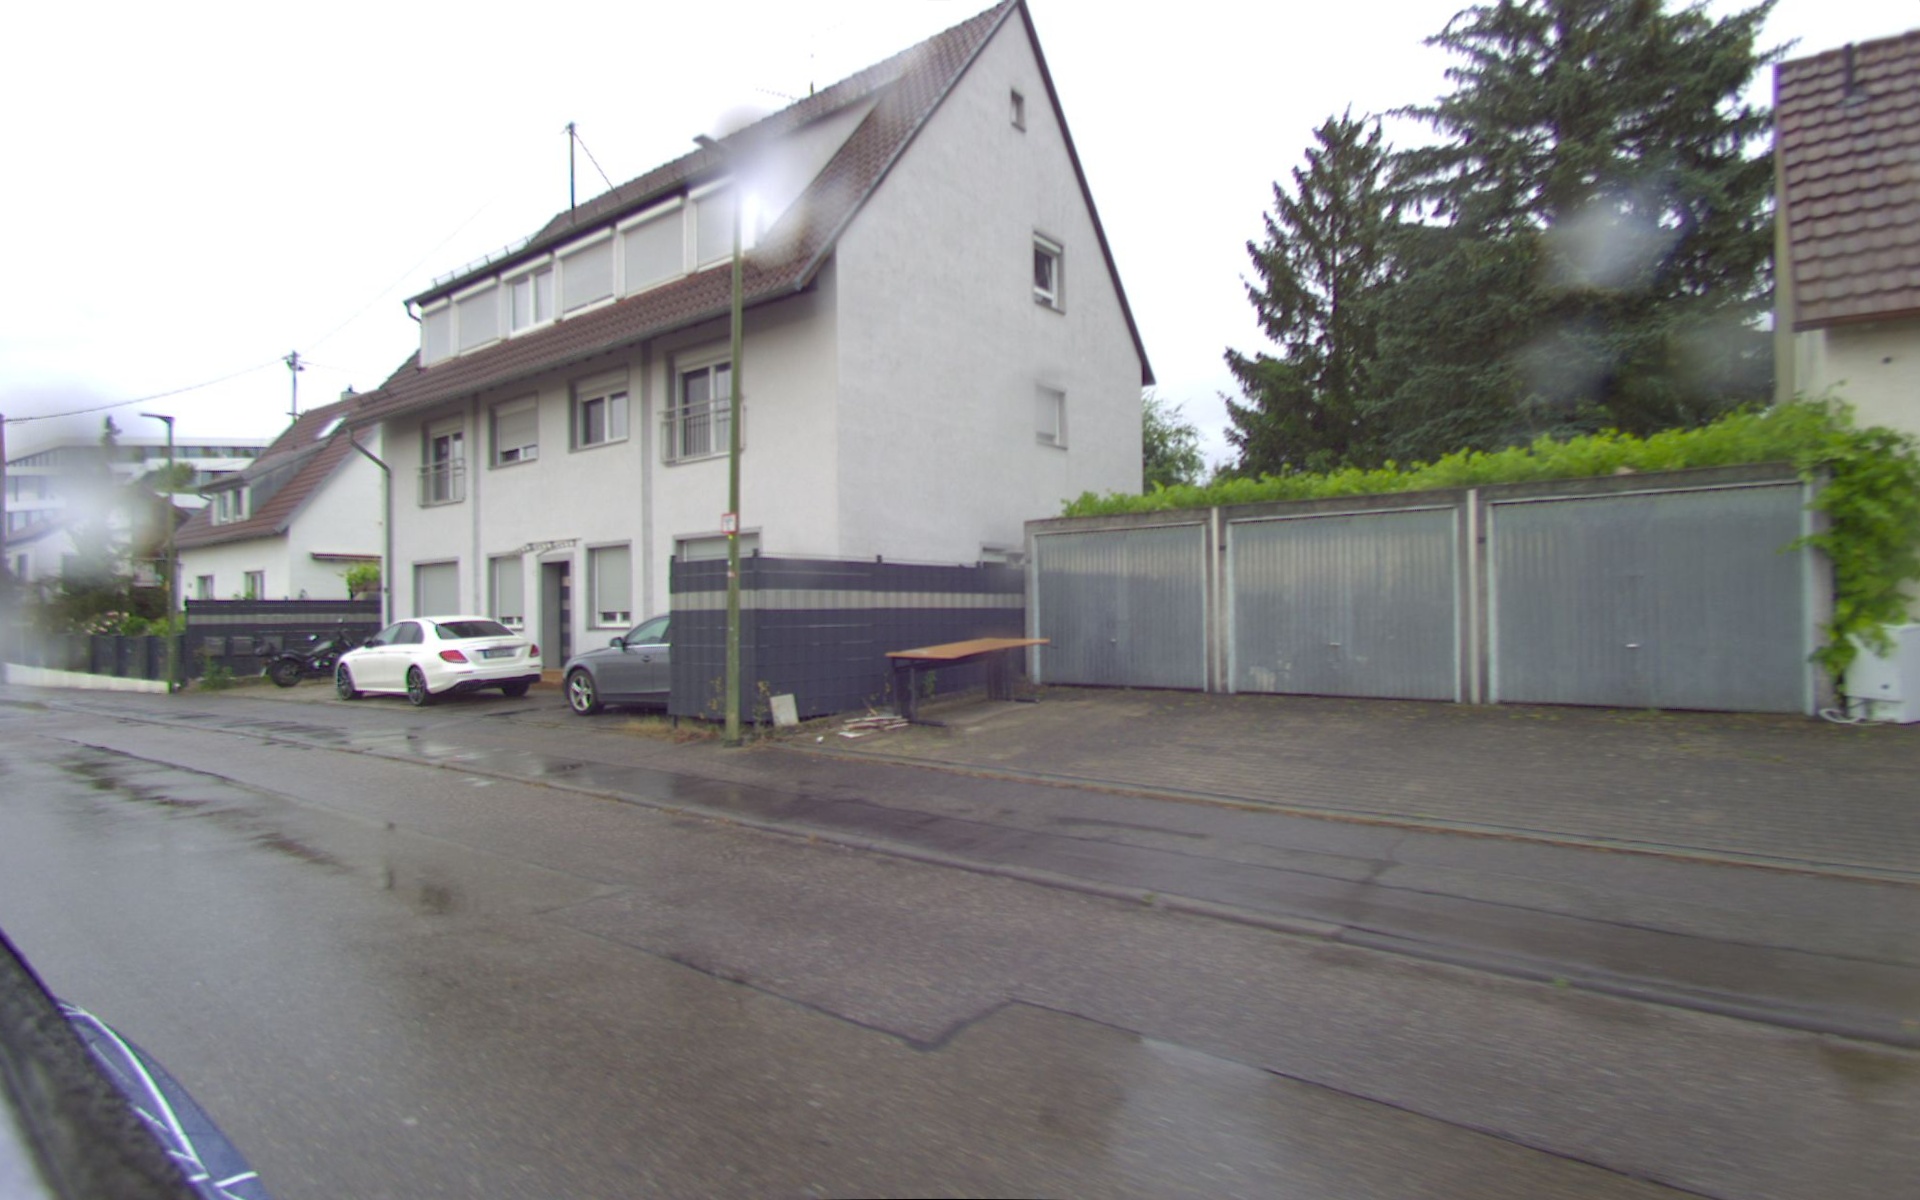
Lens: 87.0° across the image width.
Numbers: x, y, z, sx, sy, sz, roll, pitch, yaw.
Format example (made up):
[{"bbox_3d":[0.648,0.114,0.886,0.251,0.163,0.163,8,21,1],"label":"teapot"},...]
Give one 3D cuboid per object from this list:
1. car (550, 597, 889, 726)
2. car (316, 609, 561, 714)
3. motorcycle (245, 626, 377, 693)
[{"bbox_3d":[-3.307,0.784,13.499,4.560,1.378,1.811,-3,1,36],"label":"car"},{"bbox_3d":[-9.368,1.052,18.010,4.889,1.521,1.975,-3,1,38],"label":"car"},{"bbox_3d":[-14.596,1.313,22.828,0.735,1.283,2.340,-3,1,38],"label":"motorcycle"}]
